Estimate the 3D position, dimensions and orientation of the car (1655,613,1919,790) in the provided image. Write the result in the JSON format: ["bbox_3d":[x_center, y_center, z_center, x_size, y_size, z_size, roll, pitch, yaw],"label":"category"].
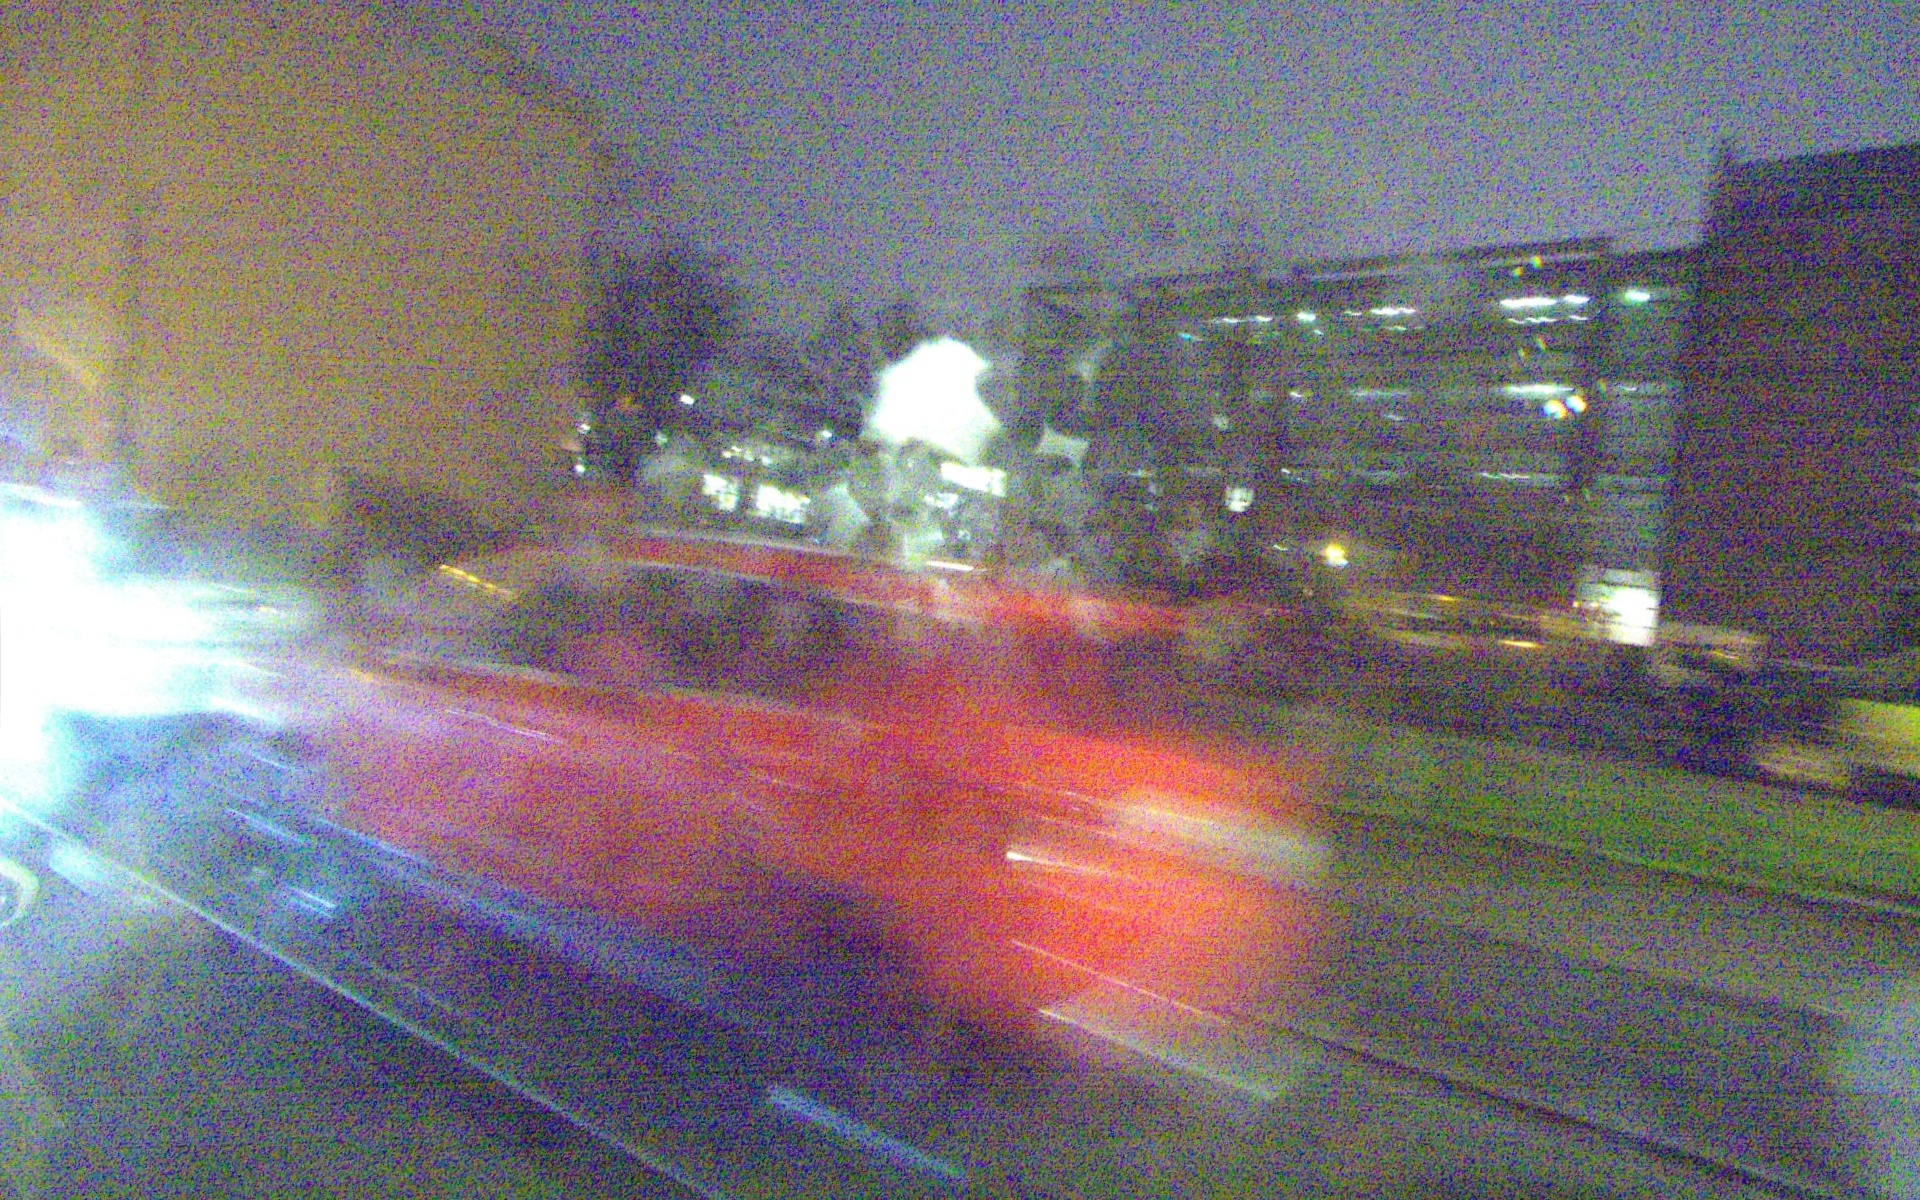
[{"bbox_3d":[10.538,1.224,10.834,4.786,1.568,1.830,7,2,32],"label":"car"}]

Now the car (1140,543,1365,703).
[{"bbox_3d":[4.043,0.312,13.390,1.775,1.638,4.221,7,2,30],"label":"car"}]

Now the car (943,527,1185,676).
[{"bbox_3d":[1.616,0.069,14.036,1.657,1.638,4.221,7,2,30],"label":"car"}]

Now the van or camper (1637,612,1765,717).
[{"bbox_3d":[21.705,1.835,29.707,2.343,2.587,5.379,7,1,32],"label":"van or camper"}]

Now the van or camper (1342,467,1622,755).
[{"bbox_3d":[6.341,0.143,11.845,2.136,2.560,5.062,8,2,33],"label":"van or camper"}]

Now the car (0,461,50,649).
[{"bbox_3d":[-10.416,-0.627,9.102,4.449,1.594,1.881,8,4,29],"label":"car"}]

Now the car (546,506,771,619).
[{"bbox_3d":[-5.879,-0.667,20.062,1.720,1.813,4.068,7,2,31],"label":"car"}]

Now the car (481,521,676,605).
[{"bbox_3d":[-8.213,-0.755,21.928,1.593,1.418,3.688,7,2,31],"label":"car"}]

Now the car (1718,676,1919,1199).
[{"bbox_3d":[3.693,1.151,1.004,4.361,1.508,1.714,6,2,30],"label":"car"}]

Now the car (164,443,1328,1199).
[{"bbox_3d":[-0.987,0.474,3.823,4.114,1.732,1.713,8,4,29],"label":"car"}]

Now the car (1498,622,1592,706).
[{"bbox_3d":[13.376,1.418,23.093,1.539,1.597,3.991,7,2,29],"label":"car"}]

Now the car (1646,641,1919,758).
[{"bbox_3d":[14.528,1.687,17.427,4.192,1.432,1.679,7,2,34],"label":"car"}]

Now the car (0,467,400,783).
[{"bbox_3d":[-5.911,-0.052,6.867,4.082,1.550,1.754,7,4,30],"label":"car"}]

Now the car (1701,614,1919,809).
[{"bbox_3d":[8.810,1.080,8.910,3.352,1.489,1.563,7,2,32],"label":"car"}]

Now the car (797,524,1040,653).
[{"bbox_3d":[-0.468,-0.102,15.075,1.657,1.541,3.990,7,2,30],"label":"car"}]
